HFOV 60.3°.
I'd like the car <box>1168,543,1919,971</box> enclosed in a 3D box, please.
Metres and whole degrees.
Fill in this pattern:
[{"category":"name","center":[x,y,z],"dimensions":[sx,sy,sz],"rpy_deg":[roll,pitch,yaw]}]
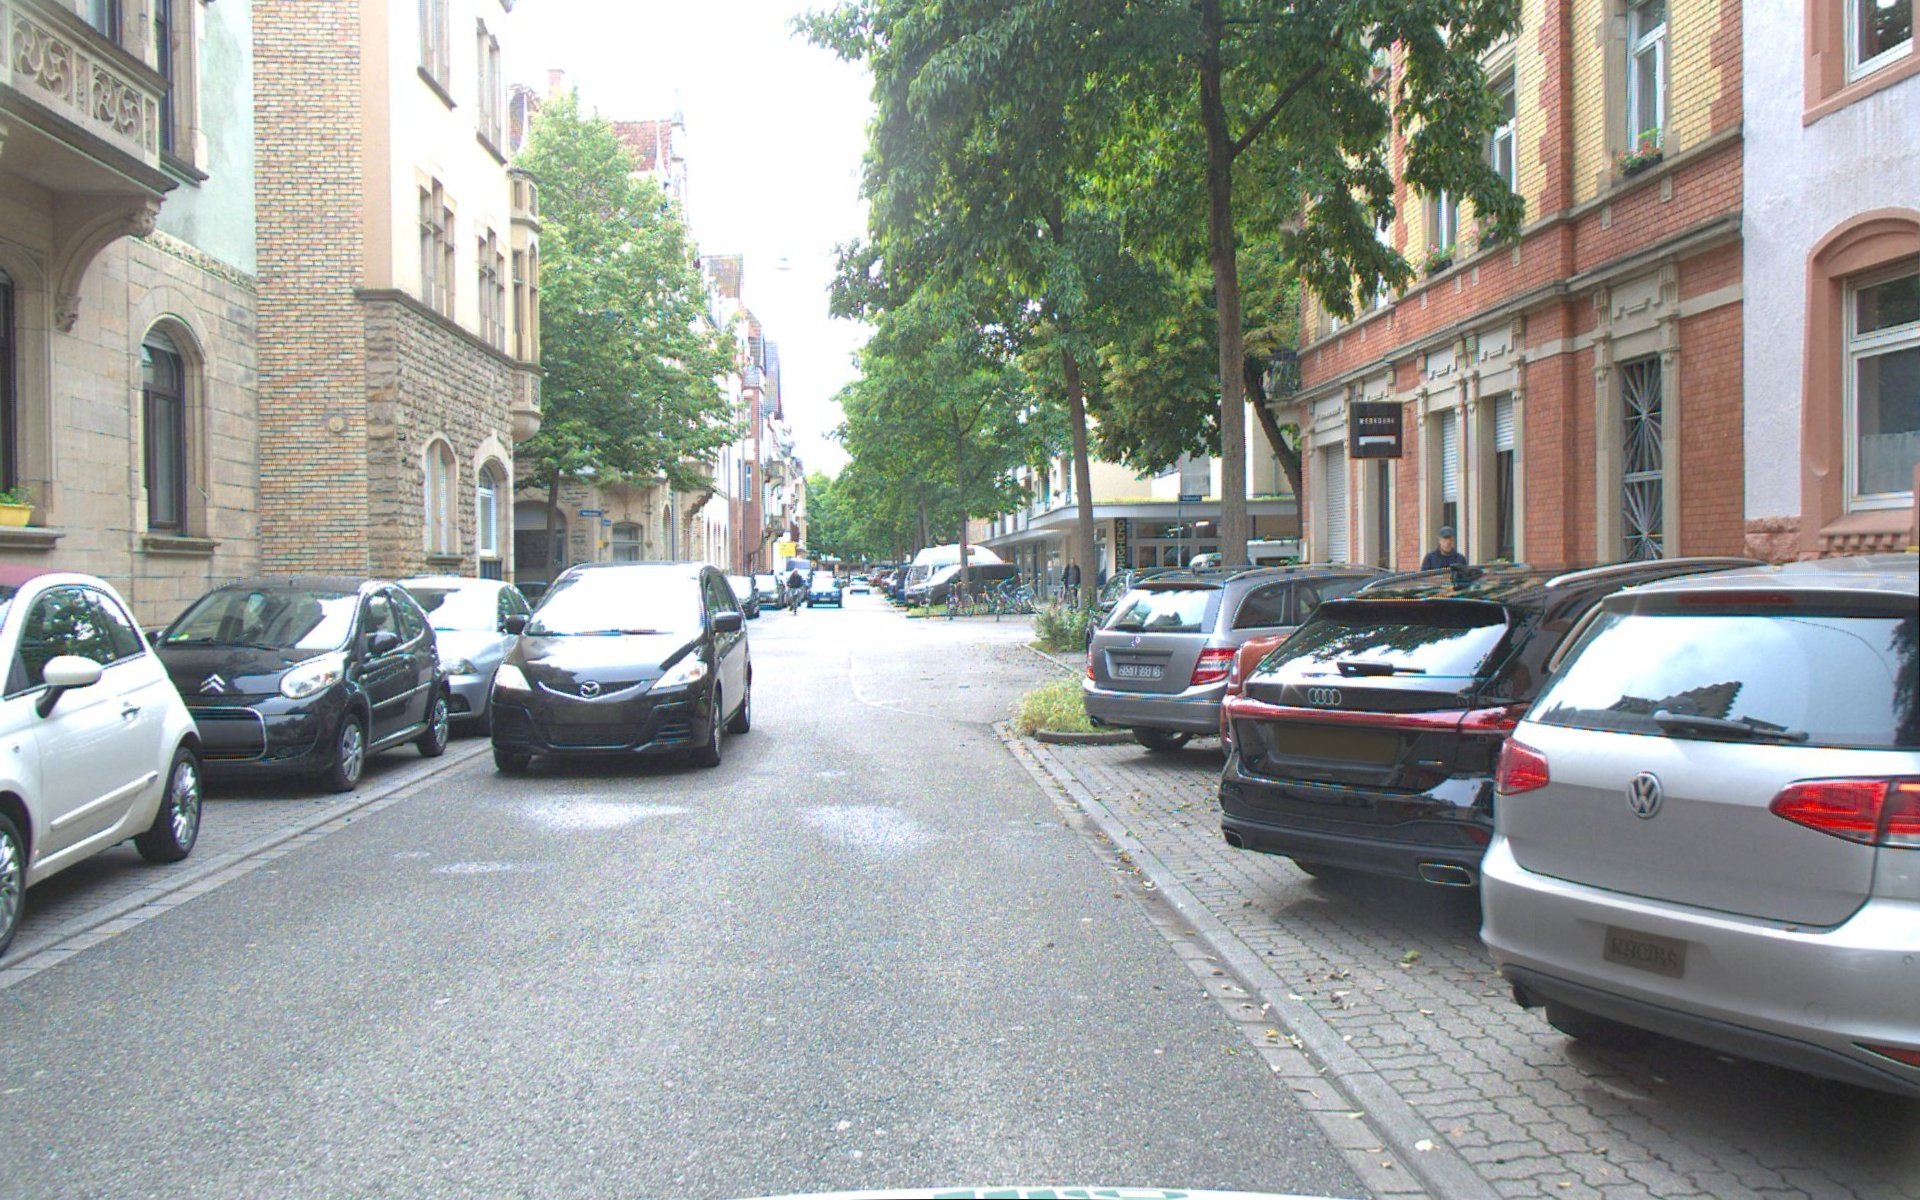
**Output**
[{"category":"car","center":[2.889,0.522,7.659],"dimensions":[3.652,1.491,1.684],"rpy_deg":[-2,1,-35]}]

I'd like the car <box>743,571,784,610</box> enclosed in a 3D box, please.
[{"category":"car","center":[-8.549,-0.433,72.083],"dimensions":[1.614,1.598,2.954],"rpy_deg":[1,2,-4]}]

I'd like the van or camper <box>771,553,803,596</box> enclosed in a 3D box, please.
[{"category":"van or camper","center":[-12.262,-1.838,117.710],"dimensions":[1.968,2.696,5.315],"rpy_deg":[1,4,-3]}]

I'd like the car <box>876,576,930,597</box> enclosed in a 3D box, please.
[{"category":"car","center":[-4.518,-1.087,131.375],"dimensions":[3.976,1.586,1.862],"rpy_deg":[-1,1,-35]}]

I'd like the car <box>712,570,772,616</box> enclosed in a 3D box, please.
[{"category":"car","center":[-7.529,-0.209,57.335],"dimensions":[1.675,1.521,3.998],"rpy_deg":[1,0,-2]}]

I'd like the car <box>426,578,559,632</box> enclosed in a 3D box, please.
[{"category":"car","center":[-14.281,0.151,50.603],"dimensions":[3.493,1.485,1.651],"rpy_deg":[-2,3,5]}]

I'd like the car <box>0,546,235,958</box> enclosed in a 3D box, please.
[{"category":"car","center":[-4.548,0.551,7.177],"dimensions":[1.635,1.537,3.548],"rpy_deg":[0,1,-8]}]

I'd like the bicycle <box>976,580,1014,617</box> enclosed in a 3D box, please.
[{"category":"bicycle","center":[1.134,-0.050,54.365],"dimensions":[0.541,1.194,1.715],"rpy_deg":[-1,1,-25]}]

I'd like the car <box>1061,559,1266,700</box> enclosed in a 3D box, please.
[{"category":"car","center":[2.438,0.294,20.928],"dimensions":[1.729,1.512,4.476],"rpy_deg":[-3,1,-4]}]

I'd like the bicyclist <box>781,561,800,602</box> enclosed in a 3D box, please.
[{"category":"bicyclist","center":[-6.532,-0.720,63.761],"dimensions":[0.634,1.565,0.676],"rpy_deg":[-1,1,-1]}]

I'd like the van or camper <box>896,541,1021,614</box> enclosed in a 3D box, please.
[{"category":"van or camper","center":[-0.044,-0.887,63.374],"dimensions":[4.547,2.641,1.886],"rpy_deg":[-2,1,-36]}]

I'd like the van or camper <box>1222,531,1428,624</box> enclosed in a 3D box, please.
[{"category":"van or camper","center":[10.695,-0.698,48.751],"dimensions":[5.650,2.537,2.138],"rpy_deg":[-1,4,3]}]

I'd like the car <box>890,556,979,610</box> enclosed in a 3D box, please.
[{"category":"car","center":[-1.066,-0.782,72.176],"dimensions":[2.020,2.234,4.395],"rpy_deg":[-1,1,27]}]

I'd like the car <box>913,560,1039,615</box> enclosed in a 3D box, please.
[{"category":"car","center":[0.603,-0.464,61.111],"dimensions":[4.284,1.886,1.893],"rpy_deg":[-2,1,-29]}]

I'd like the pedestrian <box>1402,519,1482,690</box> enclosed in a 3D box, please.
[{"category":"pedestrian","center":[5.093,0.045,17.504],"dimensions":[0.585,1.763,0.663],"rpy_deg":[-1,1,-5]}]

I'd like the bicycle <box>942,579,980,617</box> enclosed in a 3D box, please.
[{"category":"bicycle","center":[0.033,-0.070,53.592],"dimensions":[0.541,1.194,1.715],"rpy_deg":[-1,1,-25]}]

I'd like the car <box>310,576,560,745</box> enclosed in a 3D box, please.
[{"category":"car","center":[-5.136,0.514,16.639],"dimensions":[1.558,1.459,3.806],"rpy_deg":[1,1,-5]}]

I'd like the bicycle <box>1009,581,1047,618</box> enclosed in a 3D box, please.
[{"category":"bicycle","center":[2.265,-0.030,55.130],"dimensions":[0.541,1.194,1.684],"rpy_deg":[-1,1,-25]}]

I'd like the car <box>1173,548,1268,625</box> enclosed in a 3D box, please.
[{"category":"car","center":[6.700,-0.363,42.895],"dimensions":[1.734,1.850,3.999],"rpy_deg":[-1,1,-1]}]

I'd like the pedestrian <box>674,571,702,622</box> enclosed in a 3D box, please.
[{"category":"pedestrian","center":[-8.804,-0.112,53.578],"dimensions":[0.619,1.621,0.667],"rpy_deg":[0,1,37]}]

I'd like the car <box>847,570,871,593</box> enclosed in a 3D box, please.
[{"category":"car","center":[-8.410,-1.517,137.855],"dimensions":[1.954,1.825,3.998],"rpy_deg":[1,0,-3]}]

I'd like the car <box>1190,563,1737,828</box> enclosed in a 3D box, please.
[{"category":"car","center":[3.497,0.494,11.184],"dimensions":[3.846,1.460,1.722],"rpy_deg":[-2,2,-39]}]

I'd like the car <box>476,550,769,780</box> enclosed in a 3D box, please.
[{"category":"car","center":[-2.700,0.430,14.159],"dimensions":[1.773,1.658,4.206],"rpy_deg":[-1,1,-2]}]

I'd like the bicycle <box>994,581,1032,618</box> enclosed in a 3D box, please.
[{"category":"bicycle","center":[1.737,-0.040,54.700],"dimensions":[0.541,1.194,1.715],"rpy_deg":[-1,1,-25]}]

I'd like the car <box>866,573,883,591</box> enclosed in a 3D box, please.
[{"category":"car","center":[-10.427,-2.161,201.543],"dimensions":[1.954,2.048,3.997],"rpy_deg":[2,1,-4]}]

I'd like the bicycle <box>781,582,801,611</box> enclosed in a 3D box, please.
[{"category":"bicycle","center":[-6.521,-0.145,63.781],"dimensions":[0.621,1.113,1.799],"rpy_deg":[-1,0,-1]}]

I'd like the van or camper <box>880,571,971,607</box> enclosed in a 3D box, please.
[{"category":"van or camper","center":[-2.022,-0.669,97.657],"dimensions":[4.957,1.902,2.104],"rpy_deg":[-3,1,-32]}]

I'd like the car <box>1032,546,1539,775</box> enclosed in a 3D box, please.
[{"category":"car","center":[2.794,0.389,13.566],"dimensions":[4.407,1.452,1.732],"rpy_deg":[-4,1,-41]}]

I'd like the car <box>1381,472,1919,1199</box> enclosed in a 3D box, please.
[{"category":"car","center":[3.126,0.512,4.761],"dimensions":[3.415,1.590,1.772],"rpy_deg":[-1,1,-26]}]

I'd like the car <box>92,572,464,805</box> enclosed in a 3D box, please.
[{"category":"car","center":[-4.881,0.542,12.322],"dimensions":[1.487,1.459,3.454],"rpy_deg":[1,1,-3]}]

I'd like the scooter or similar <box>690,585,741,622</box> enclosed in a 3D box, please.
[{"category":"scooter or similar","center":[-7.699,0.112,52.131],"dimensions":[1.438,1.123,0.676],"rpy_deg":[2,1,8]}]

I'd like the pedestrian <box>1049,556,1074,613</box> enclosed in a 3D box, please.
[{"category":"pedestrian","center":[3.282,-0.506,53.417],"dimensions":[0.763,1.828,0.509],"rpy_deg":[0,1,-2]}]

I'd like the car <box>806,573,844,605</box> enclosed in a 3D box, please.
[{"category":"car","center":[-6.352,-0.508,78.145],"dimensions":[1.674,1.438,3.850],"rpy_deg":[-1,0,-3]}]

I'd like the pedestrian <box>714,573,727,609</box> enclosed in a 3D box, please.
[{"category":"pedestrian","center":[-10.248,-0.392,70.784],"dimensions":[0.505,1.545,0.546],"rpy_deg":[-1,1,-4]}]
